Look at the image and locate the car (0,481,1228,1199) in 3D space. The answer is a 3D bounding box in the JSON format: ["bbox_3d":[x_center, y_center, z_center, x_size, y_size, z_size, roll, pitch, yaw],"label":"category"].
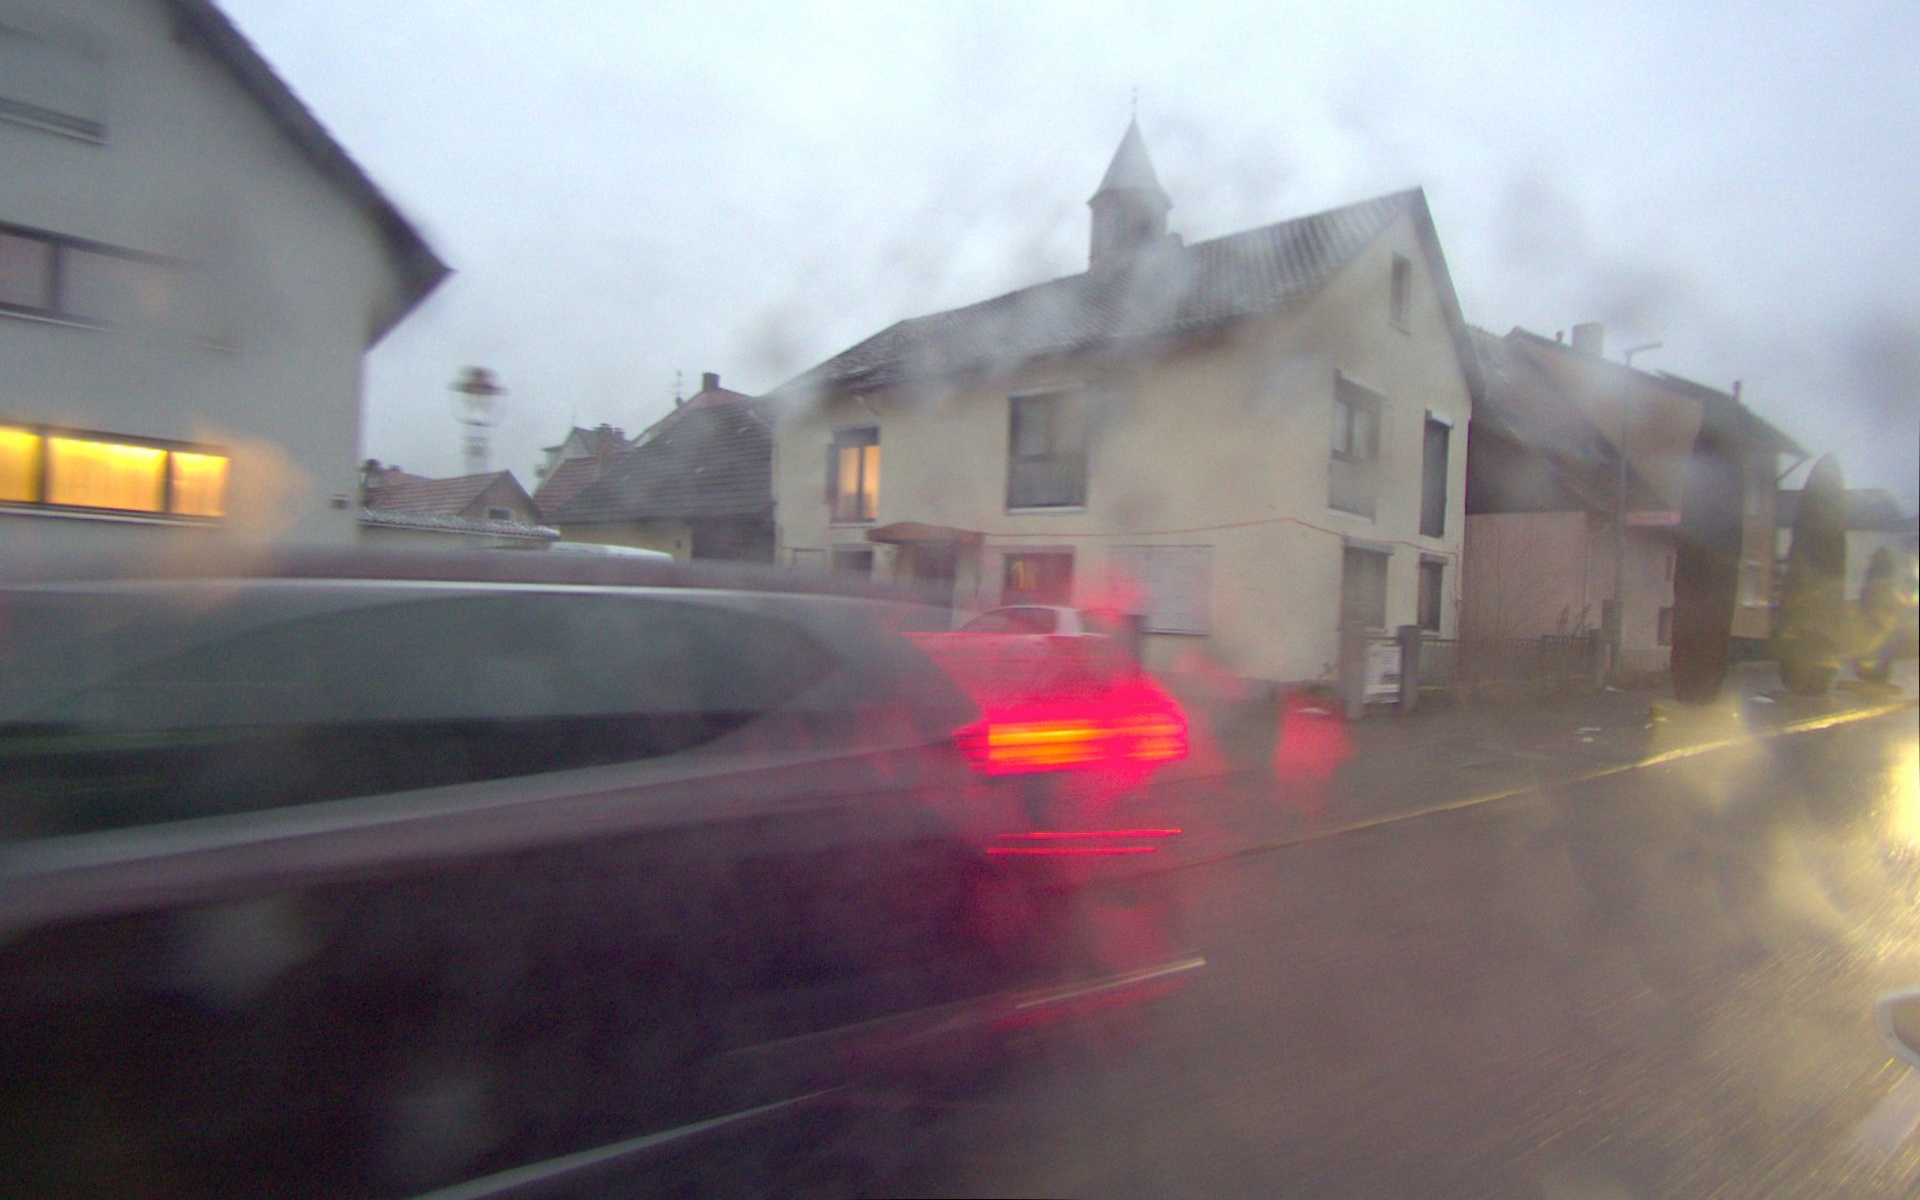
[{"bbox_3d":[-1.681,0.653,2.317,4.551,1.634,1.867,1,0,-32],"label":"car"}]

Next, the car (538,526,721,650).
[{"bbox_3d":[-7.890,-0.298,23.631,2.196,2.574,5.289,1,1,-41],"label":"car"}]

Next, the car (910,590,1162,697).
[{"bbox_3d":[1.162,0.634,16.638,1.808,1.482,3.947,1,1,-44],"label":"car"}]

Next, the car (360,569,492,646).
[{"bbox_3d":[-11.755,0.119,21.983,1.805,1.506,3.954,1,1,-39],"label":"car"}]

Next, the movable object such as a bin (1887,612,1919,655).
[{"bbox_3d":[35.206,1.232,37.169,1.277,1.564,1.087,1,0,-38],"label":"movable object such as a bin"}]
